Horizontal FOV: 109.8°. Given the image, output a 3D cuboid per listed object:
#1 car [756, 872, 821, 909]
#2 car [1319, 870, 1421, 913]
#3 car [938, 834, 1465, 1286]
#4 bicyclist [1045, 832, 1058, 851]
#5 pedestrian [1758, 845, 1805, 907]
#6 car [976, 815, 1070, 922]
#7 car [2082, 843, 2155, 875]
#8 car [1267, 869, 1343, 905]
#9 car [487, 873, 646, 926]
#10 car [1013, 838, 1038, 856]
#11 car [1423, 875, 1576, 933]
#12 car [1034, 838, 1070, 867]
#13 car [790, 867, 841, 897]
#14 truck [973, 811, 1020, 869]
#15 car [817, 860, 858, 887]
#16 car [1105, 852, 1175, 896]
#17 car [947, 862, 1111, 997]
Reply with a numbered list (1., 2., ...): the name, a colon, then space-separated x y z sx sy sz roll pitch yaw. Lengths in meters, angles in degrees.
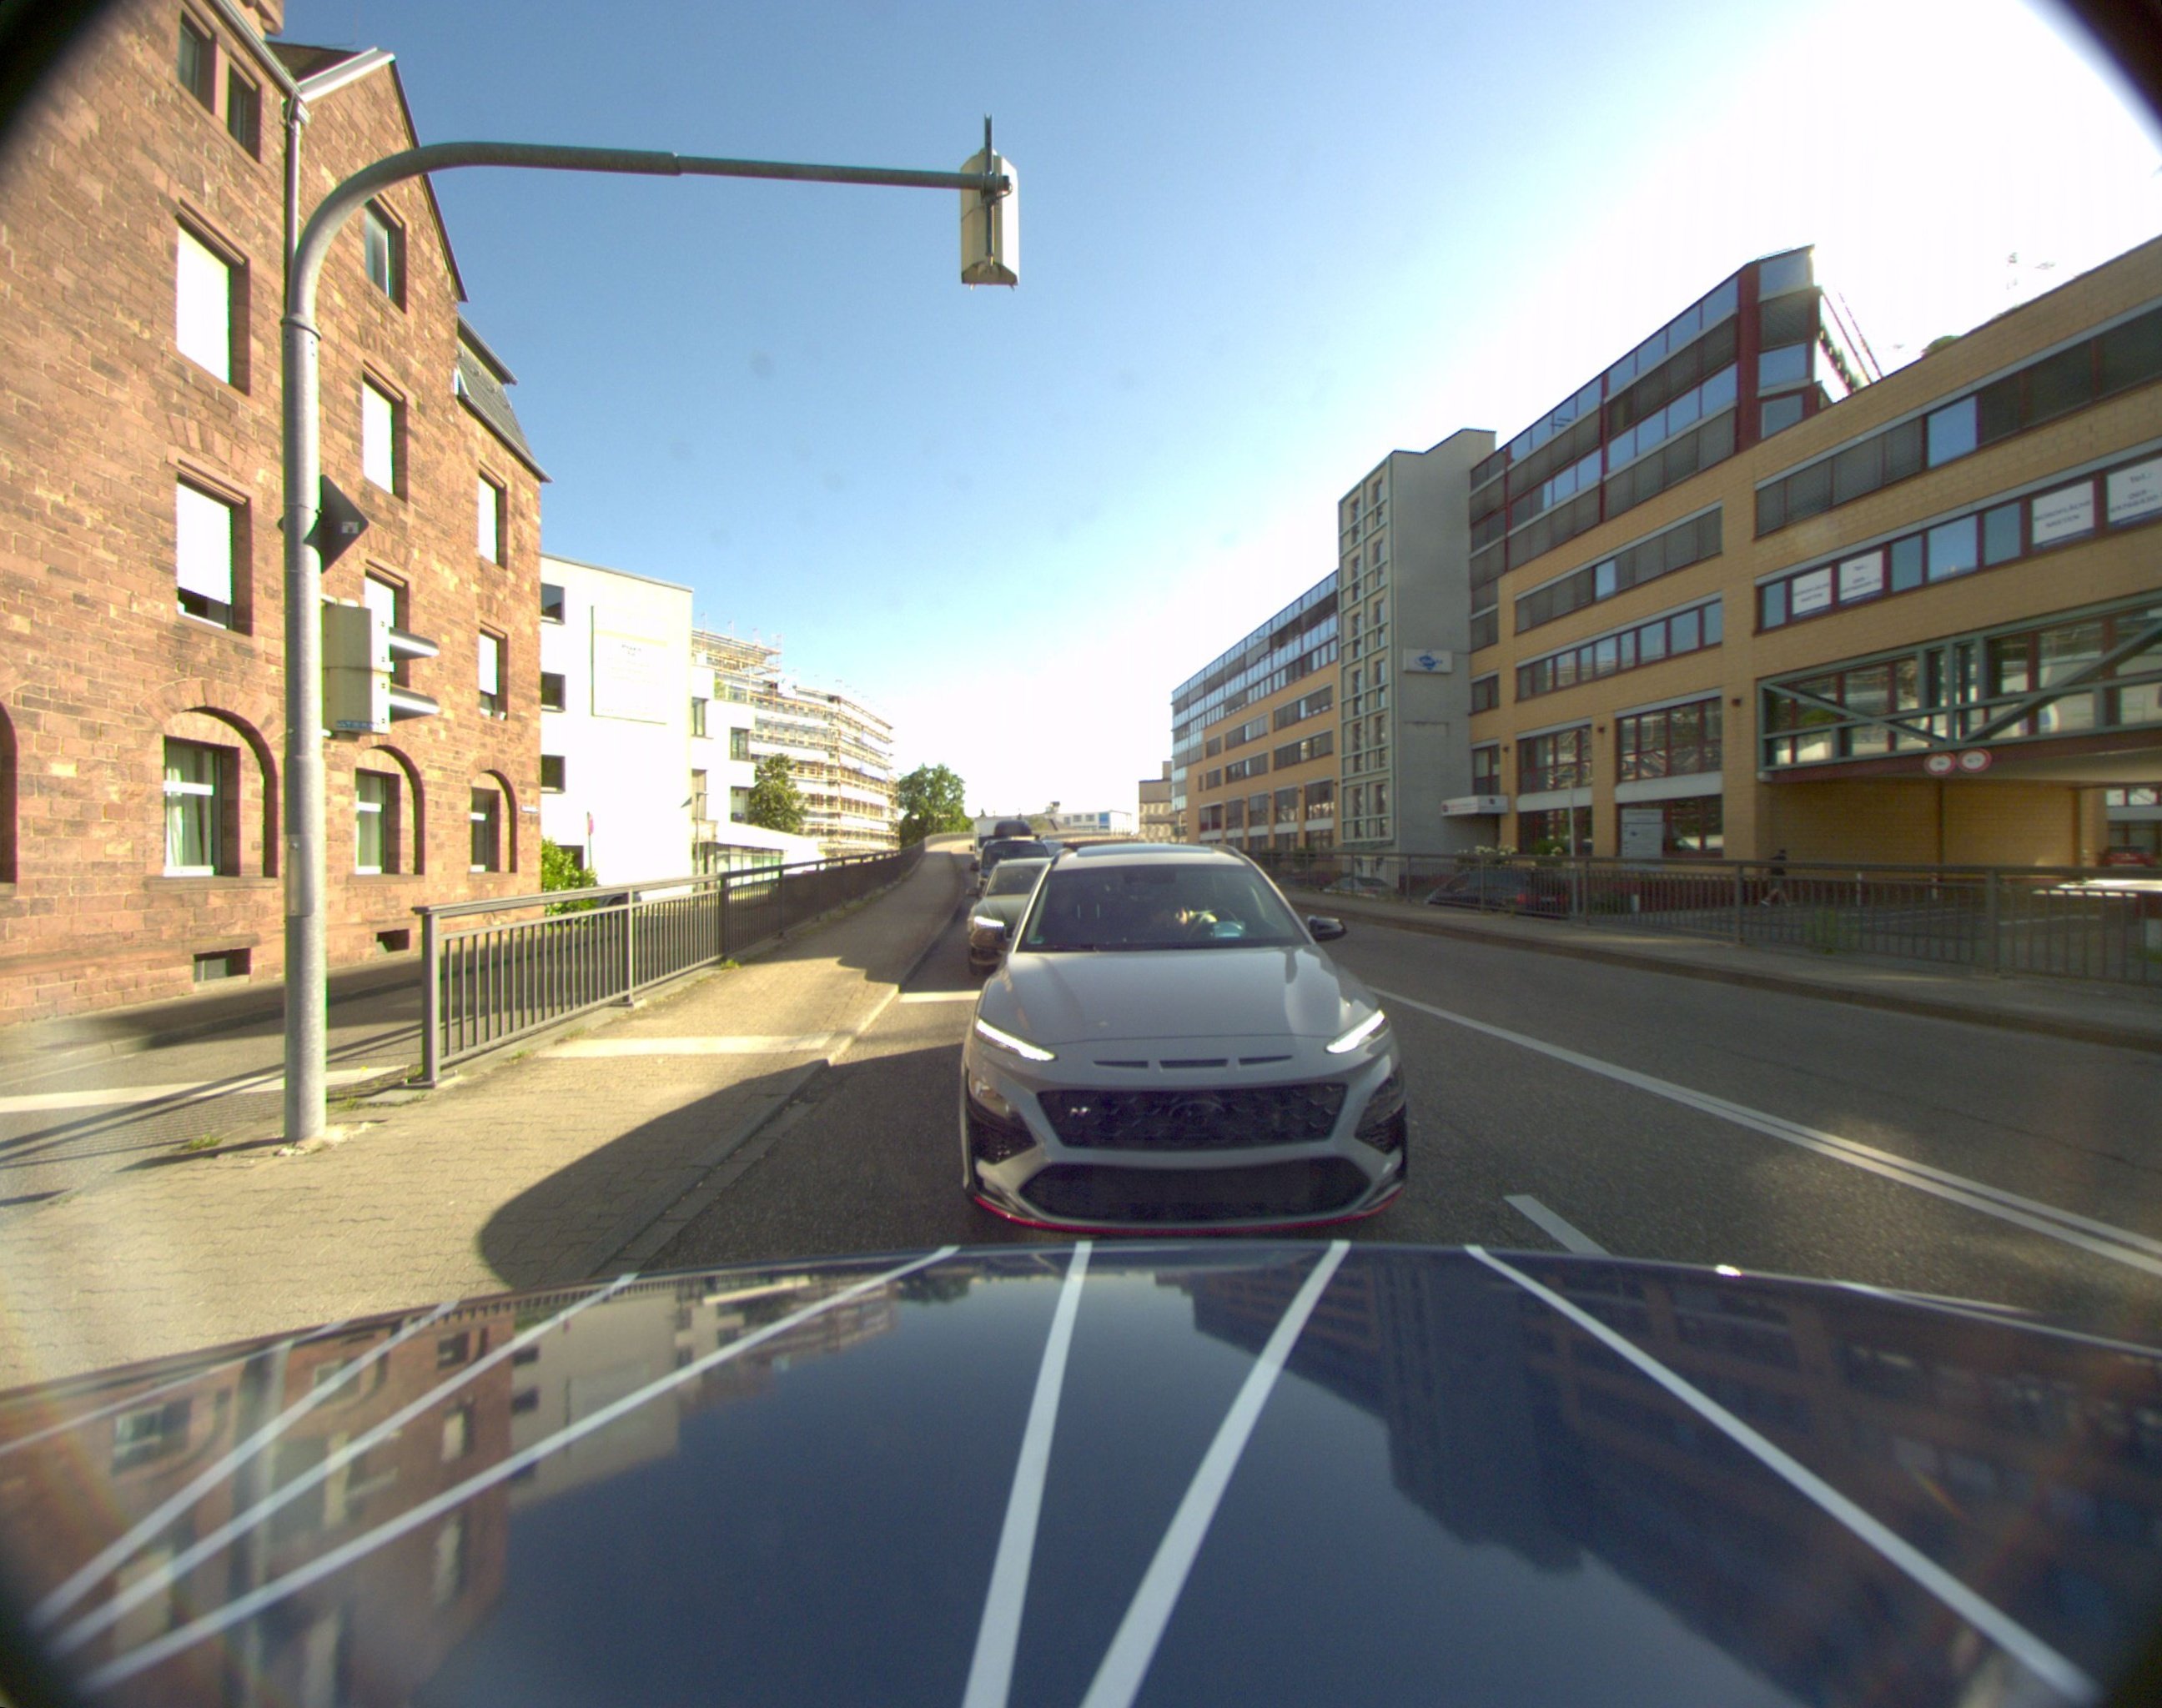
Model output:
1. car: -13.357 1.635 34.967 2.054 1.522 4.089 -1 -1 -11
2. car: 11.428 1.436 30.356 1.881 1.514 4.157 0 -1 -11
3. car: 0.502 0.751 4.829 1.878 1.612 4.197 0 0 2
4. bicyclist: -2.854 -1.213 74.314 1.083 1.861 1.083 -2 1 -9
5. pedestrian: 21.555 0.672 23.391 0.747 1.840 0.705 -2 0 -5
6. car: -1.439 0.332 18.369 1.951 2.248 4.783 0 -1 -5
7. car: 54.025 0.233 39.644 4.007 1.512 1.763 -3 1 -43
8. car: 10.439 1.518 35.727 1.885 1.554 3.997 0 -1 -9
9. car: -17.052 1.453 25.302 4.101 1.522 1.914 0 -1 -44
10. car: -4.878 -0.611 66.421 1.688 1.593 4.753 0 1 -9
11. car: 12.396 1.419 22.850 1.639 1.514 4.156 0 -1 -14
12. car: -1.903 -0.092 48.381 1.838 1.745 4.485 0 1 -9
13. car: -14.426 1.496 41.501 2.054 1.522 4.089 -1 -1 -11
14. truck: -4.967 -0.702 44.421 2.504 3.109 6.956 -1 -1 -7
15. car: -15.796 1.242 49.434 2.054 1.676 4.089 -1 -1 -11
16. car: 1.975 0.640 26.442 1.573 1.399 3.819 -1 0 -9
17. car: -0.767 0.891 11.081 1.879 1.462 4.633 0 0 -4
